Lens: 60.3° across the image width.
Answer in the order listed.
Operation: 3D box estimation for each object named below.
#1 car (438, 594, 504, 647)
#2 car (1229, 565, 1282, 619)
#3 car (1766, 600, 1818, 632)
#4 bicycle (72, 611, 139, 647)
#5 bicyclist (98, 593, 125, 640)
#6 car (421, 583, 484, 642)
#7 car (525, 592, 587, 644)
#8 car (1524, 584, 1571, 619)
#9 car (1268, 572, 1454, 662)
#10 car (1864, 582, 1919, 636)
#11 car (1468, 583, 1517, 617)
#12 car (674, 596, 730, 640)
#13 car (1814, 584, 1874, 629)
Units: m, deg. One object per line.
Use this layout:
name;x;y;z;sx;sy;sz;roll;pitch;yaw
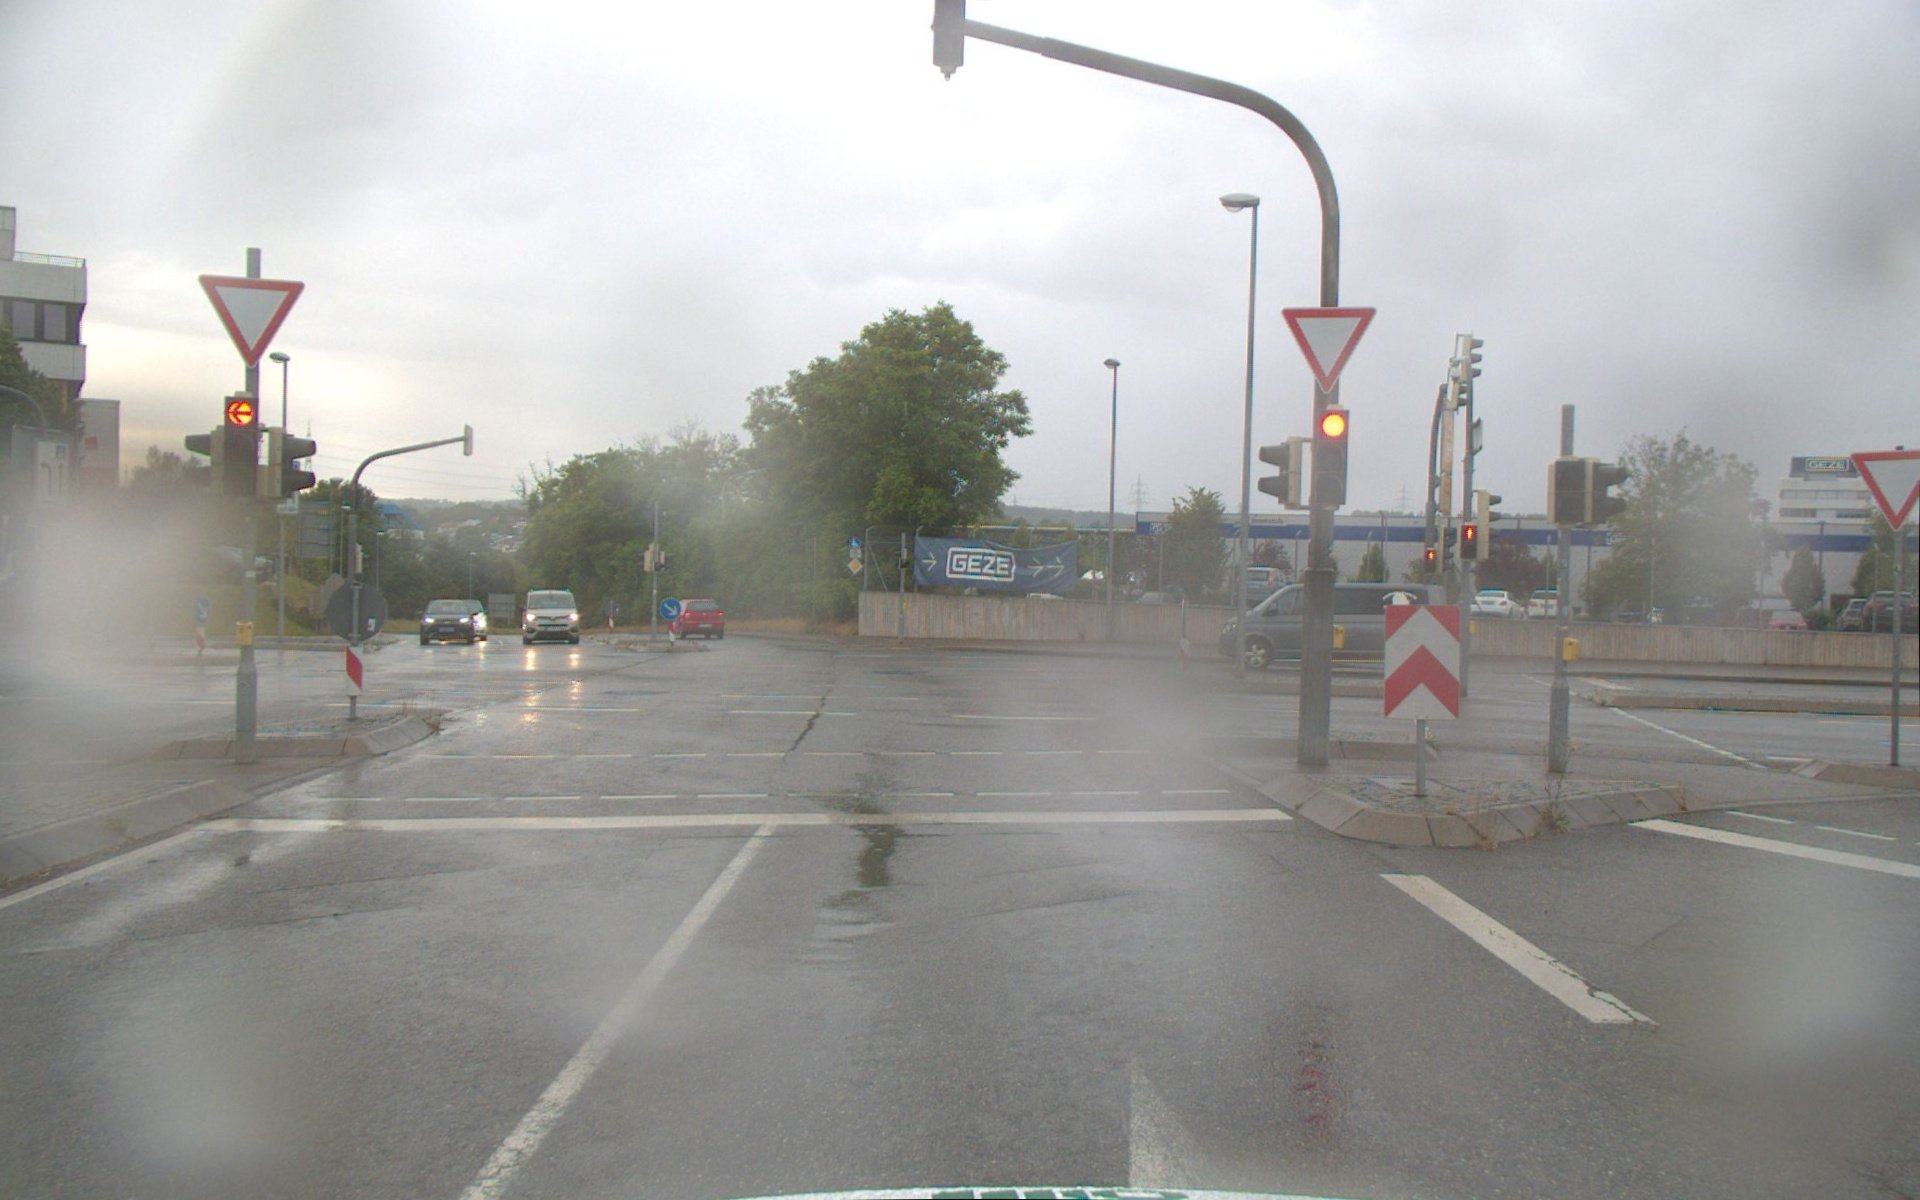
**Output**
car;-18.896;0.757;64.051;1.957;1.928;3.991;1;1;-9
car;11.808;-0.311;65.929;1.951;2.049;4.003;1;0;12
car;40.664;0.756;80.776;1.737;1.504;3.634;1;1;35
bicycle;-26.524;0.891;51.346;1.740;1.070;0.609;1;0;-6
bicyclist;-26.344;0.509;51.361;0.533;1.471;0.602;1;0;-6
car;-17.343;0.412;56.581;1.962;1.928;3.981;1;-1;-17
car;-13.675;0.573;56.053;1.960;1.646;3.986;1;1;-14
car;26.918;0.049;75.762;1.952;1.504;4.001;1;1;20
car;8.942;0.345;37.002;3.902;1.881;2.002;1;0;14
car;31.812;0.297;55.865;1.737;1.745;3.633;1;1;36
car;24.637;0.002;76.409;1.952;1.504;4.001;1;1;21
car;-9.776;0.656;62.381;1.589;1.474;3.791;2;1;-16
car;35.510;0.245;66.420;1.687;1.745;3.635;1;1;35
